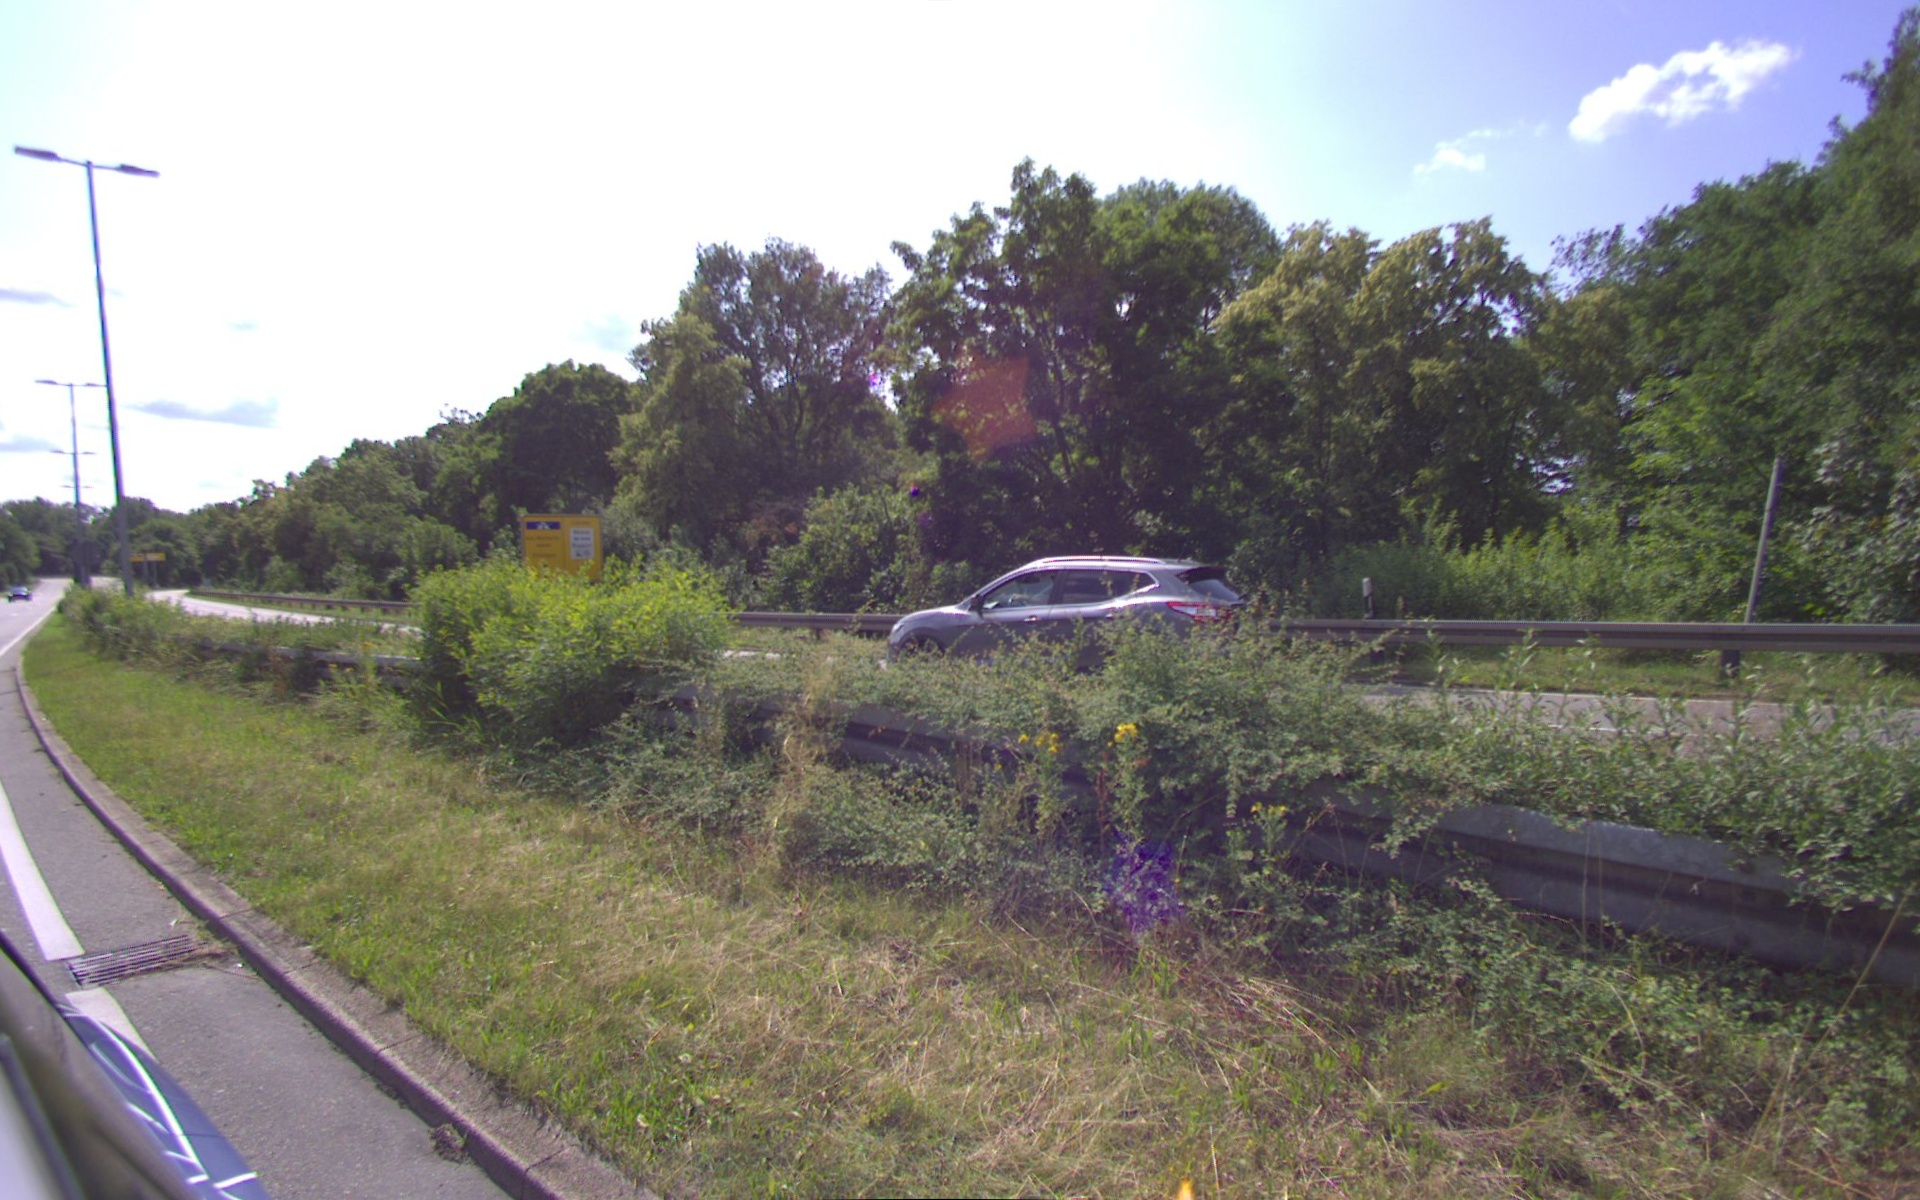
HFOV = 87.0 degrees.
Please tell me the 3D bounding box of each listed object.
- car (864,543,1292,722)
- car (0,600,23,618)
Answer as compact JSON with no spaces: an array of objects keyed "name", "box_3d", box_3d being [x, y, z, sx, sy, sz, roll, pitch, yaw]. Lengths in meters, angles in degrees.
[{"name":"car","box_3d":[1.186,0.326,10.903,4.267,1.598,1.697,-1,-1,32]},{"name":"car","box_3d":[-109.962,1.046,117.111,1.947,2.029,4.007,-2,1,-40]}]
